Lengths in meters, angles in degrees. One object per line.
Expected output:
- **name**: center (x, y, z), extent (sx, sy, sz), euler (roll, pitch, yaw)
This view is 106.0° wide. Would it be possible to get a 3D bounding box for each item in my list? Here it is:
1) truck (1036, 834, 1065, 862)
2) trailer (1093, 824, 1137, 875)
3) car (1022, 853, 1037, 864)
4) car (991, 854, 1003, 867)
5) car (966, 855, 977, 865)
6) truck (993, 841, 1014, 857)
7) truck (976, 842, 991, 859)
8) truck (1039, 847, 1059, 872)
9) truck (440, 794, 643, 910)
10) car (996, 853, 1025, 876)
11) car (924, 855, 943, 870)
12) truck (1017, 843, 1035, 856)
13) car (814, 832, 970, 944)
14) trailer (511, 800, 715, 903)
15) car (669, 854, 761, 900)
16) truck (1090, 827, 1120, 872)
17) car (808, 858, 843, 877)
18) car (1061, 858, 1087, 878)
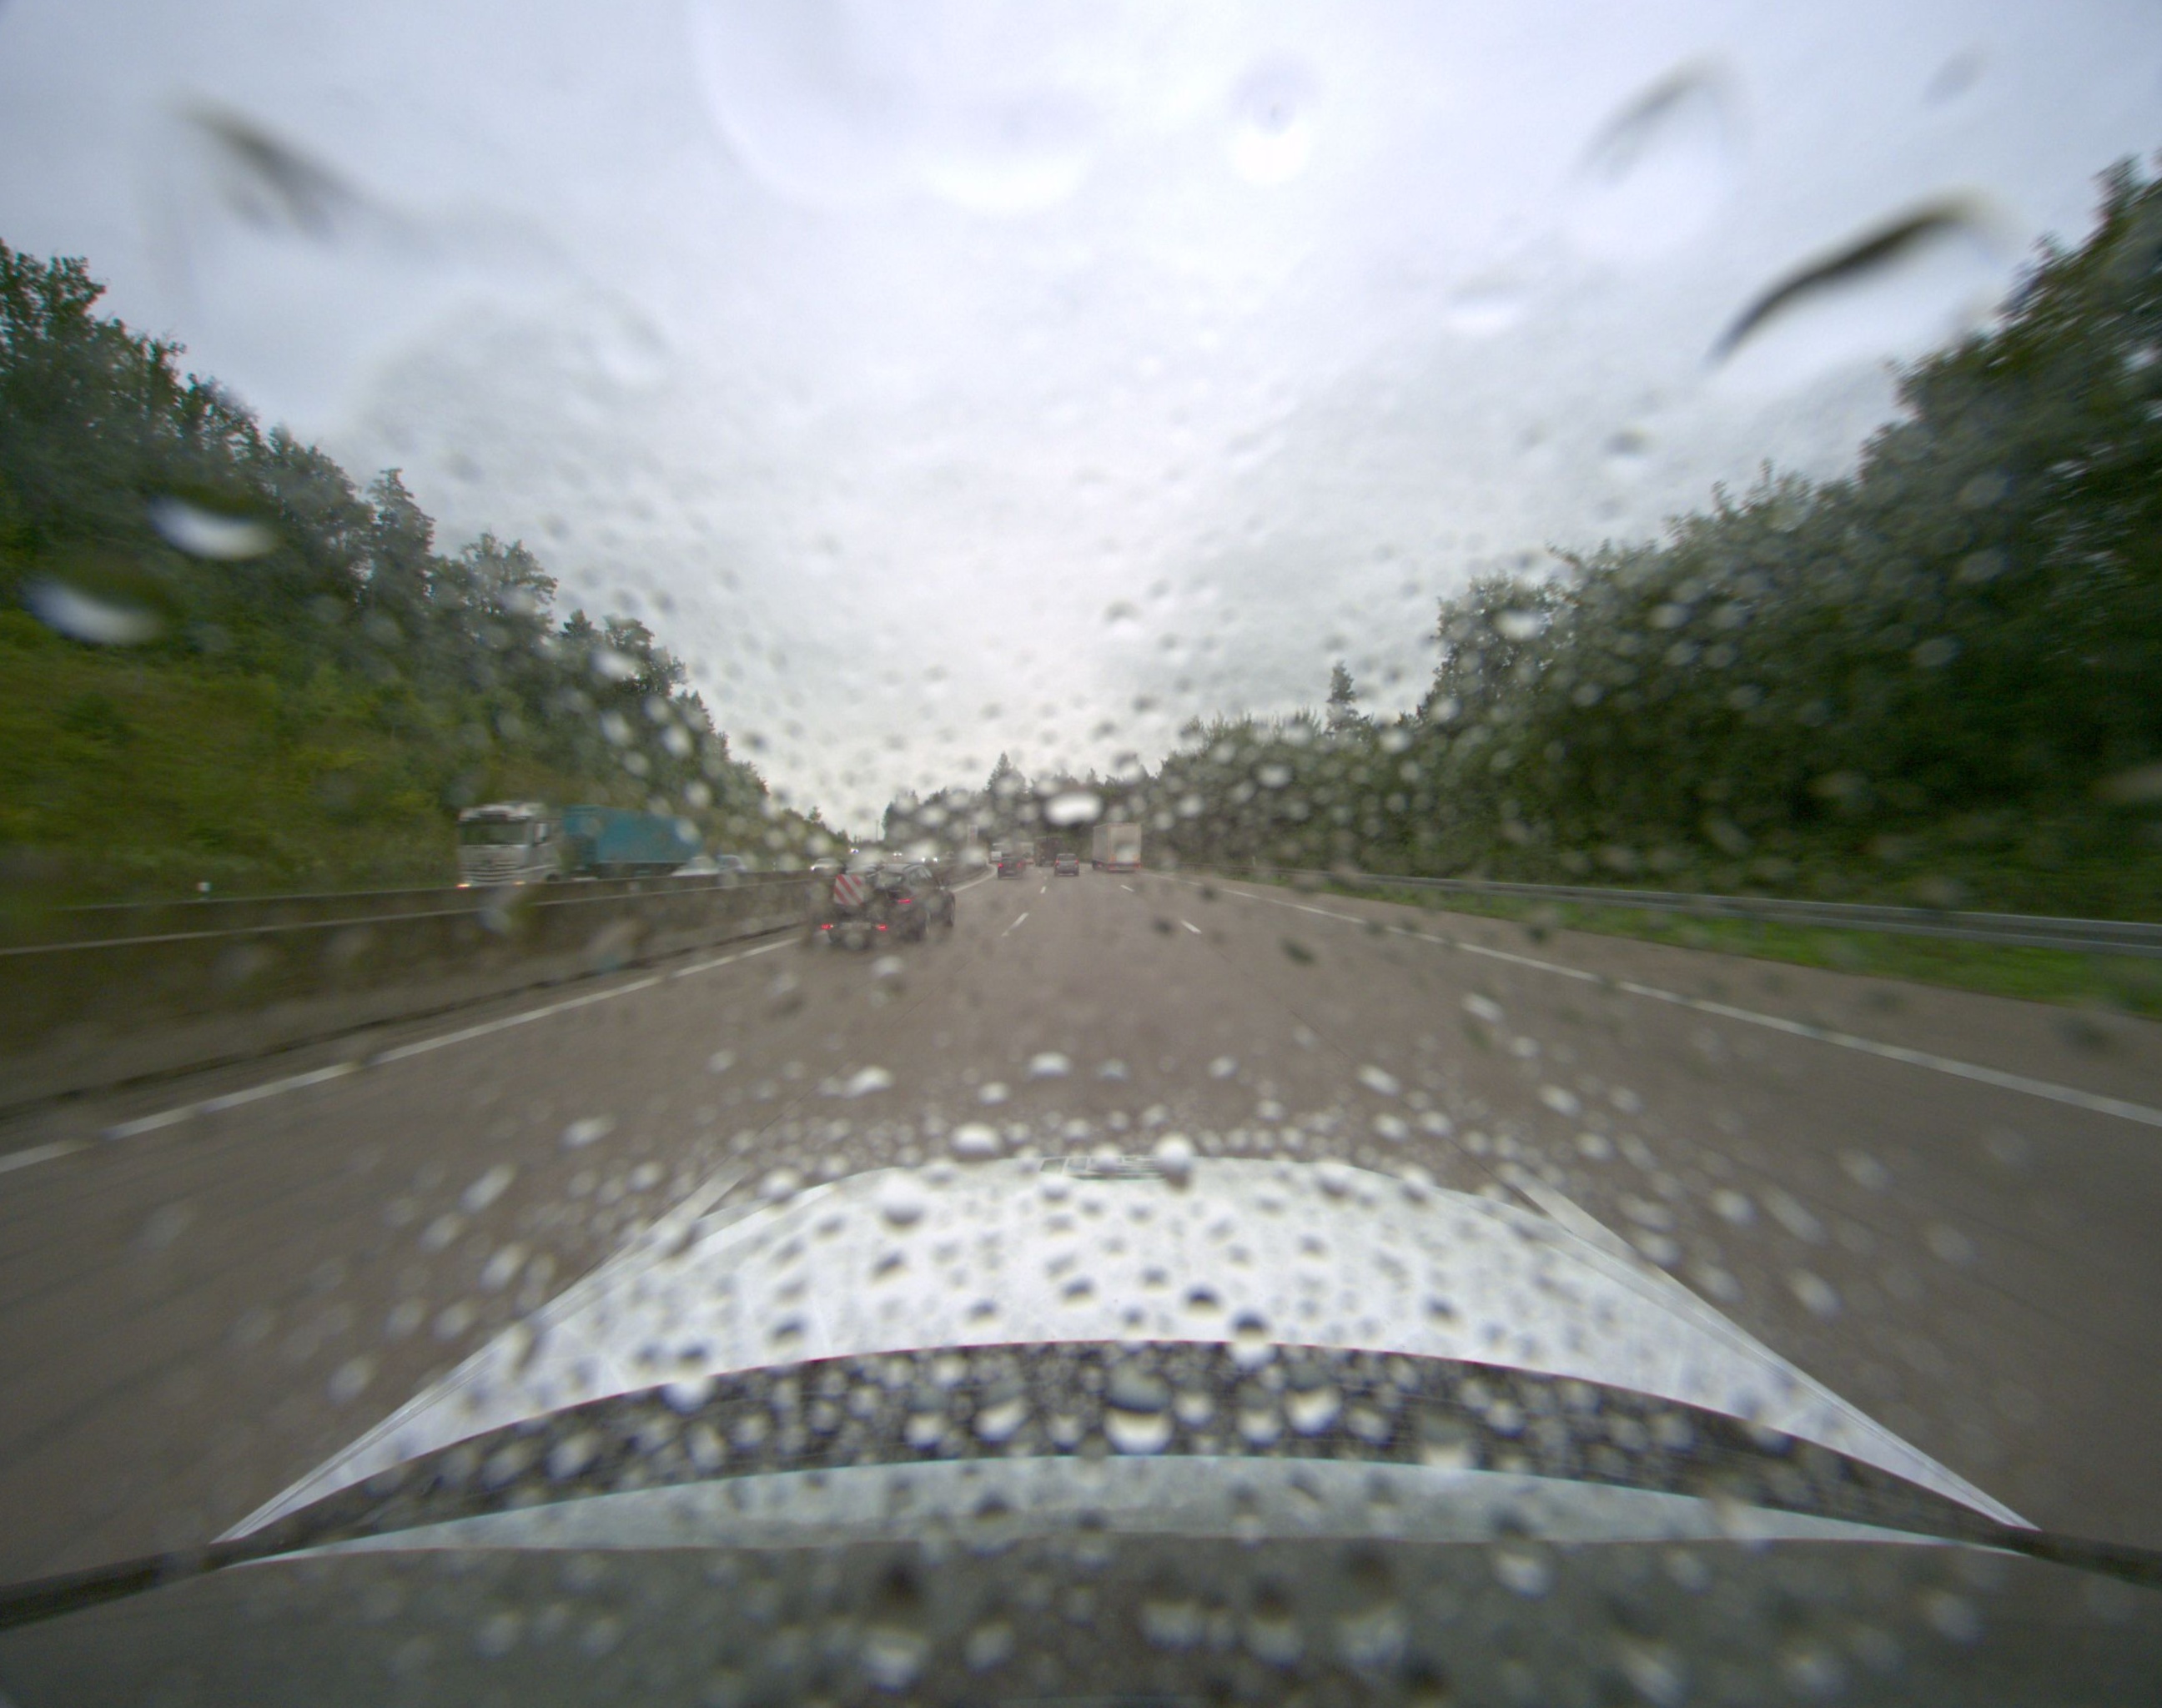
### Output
- **truck**: center (-4.790, -0.962, 126.491), extent (3.368, 4.131, 10.405), euler (0, 0, -9)
- **trailer**: center (2.765, -0.392, 70.283), extent (2.415, 4.068, 12.037), euler (0, 0, -4)
- **car**: center (-7.397, 0.597, 116.294), extent (1.876, 1.473, 3.999), euler (1, 0, -1)
- **car**: center (-12.828, 1.024, 124.623), extent (1.724, 2.014, 3.647), euler (-1, 0, -7)
- **car**: center (-22.826, 1.254, 169.456), extent (1.996, 2.059, 3.981), euler (-1, 0, -14)
- **truck**: center (-14.792, -1.003, 155.328), extent (3.085, 2.905, 7.870), euler (0, 1, -12)
- **truck**: center (-25.772, -0.912, 215.023), extent (3.734, 4.210, 6.805), euler (-1, 0, -5)
- **truck**: center (-3.942, 0.606, 100.712), extent (2.264, 2.886, 7.897), euler (0, 1, -2)
- **truck**: center (-20.251, -0.071, 31.265), extent (2.898, 3.889, 7.362), euler (-1, 0, -1)
- **car**: center (-4.608, 0.660, 53.550), extent (1.680, 1.462, 3.680), euler (1, 0, -3)
- **car**: center (-17.954, 0.981, 99.389), extent (1.728, 1.776, 4.750), euler (-1, 0, -5)
- **truck**: center (-10.744, -0.870, 158.525), extent (2.974, 2.309, 6.646), euler (1, 0, -9)
- **car**: center (-3.761, 0.594, 17.488), extent (1.901, 1.945, 6.161), euler (-1, 0, 0)
- **trailer**: center (-20.342, -0.076, 36.623), extent (2.898, 3.889, 11.032), euler (-1, 0, -1)
- **car**: center (-15.274, 0.912, 34.257), extent (1.726, 1.776, 4.756), euler (-1, 0, -1)
- **truck**: center (2.220, -0.442, 77.230), extent (2.415, 4.068, 4.971), euler (0, 0, -4)
- **car**: center (-22.005, 1.134, 70.330), extent (1.726, 1.576, 4.242), euler (-1, 0, -1)
- **car**: center (-0.490, 1.017, 59.261), extent (1.547, 1.351, 3.688), euler (1, 0, 4)
